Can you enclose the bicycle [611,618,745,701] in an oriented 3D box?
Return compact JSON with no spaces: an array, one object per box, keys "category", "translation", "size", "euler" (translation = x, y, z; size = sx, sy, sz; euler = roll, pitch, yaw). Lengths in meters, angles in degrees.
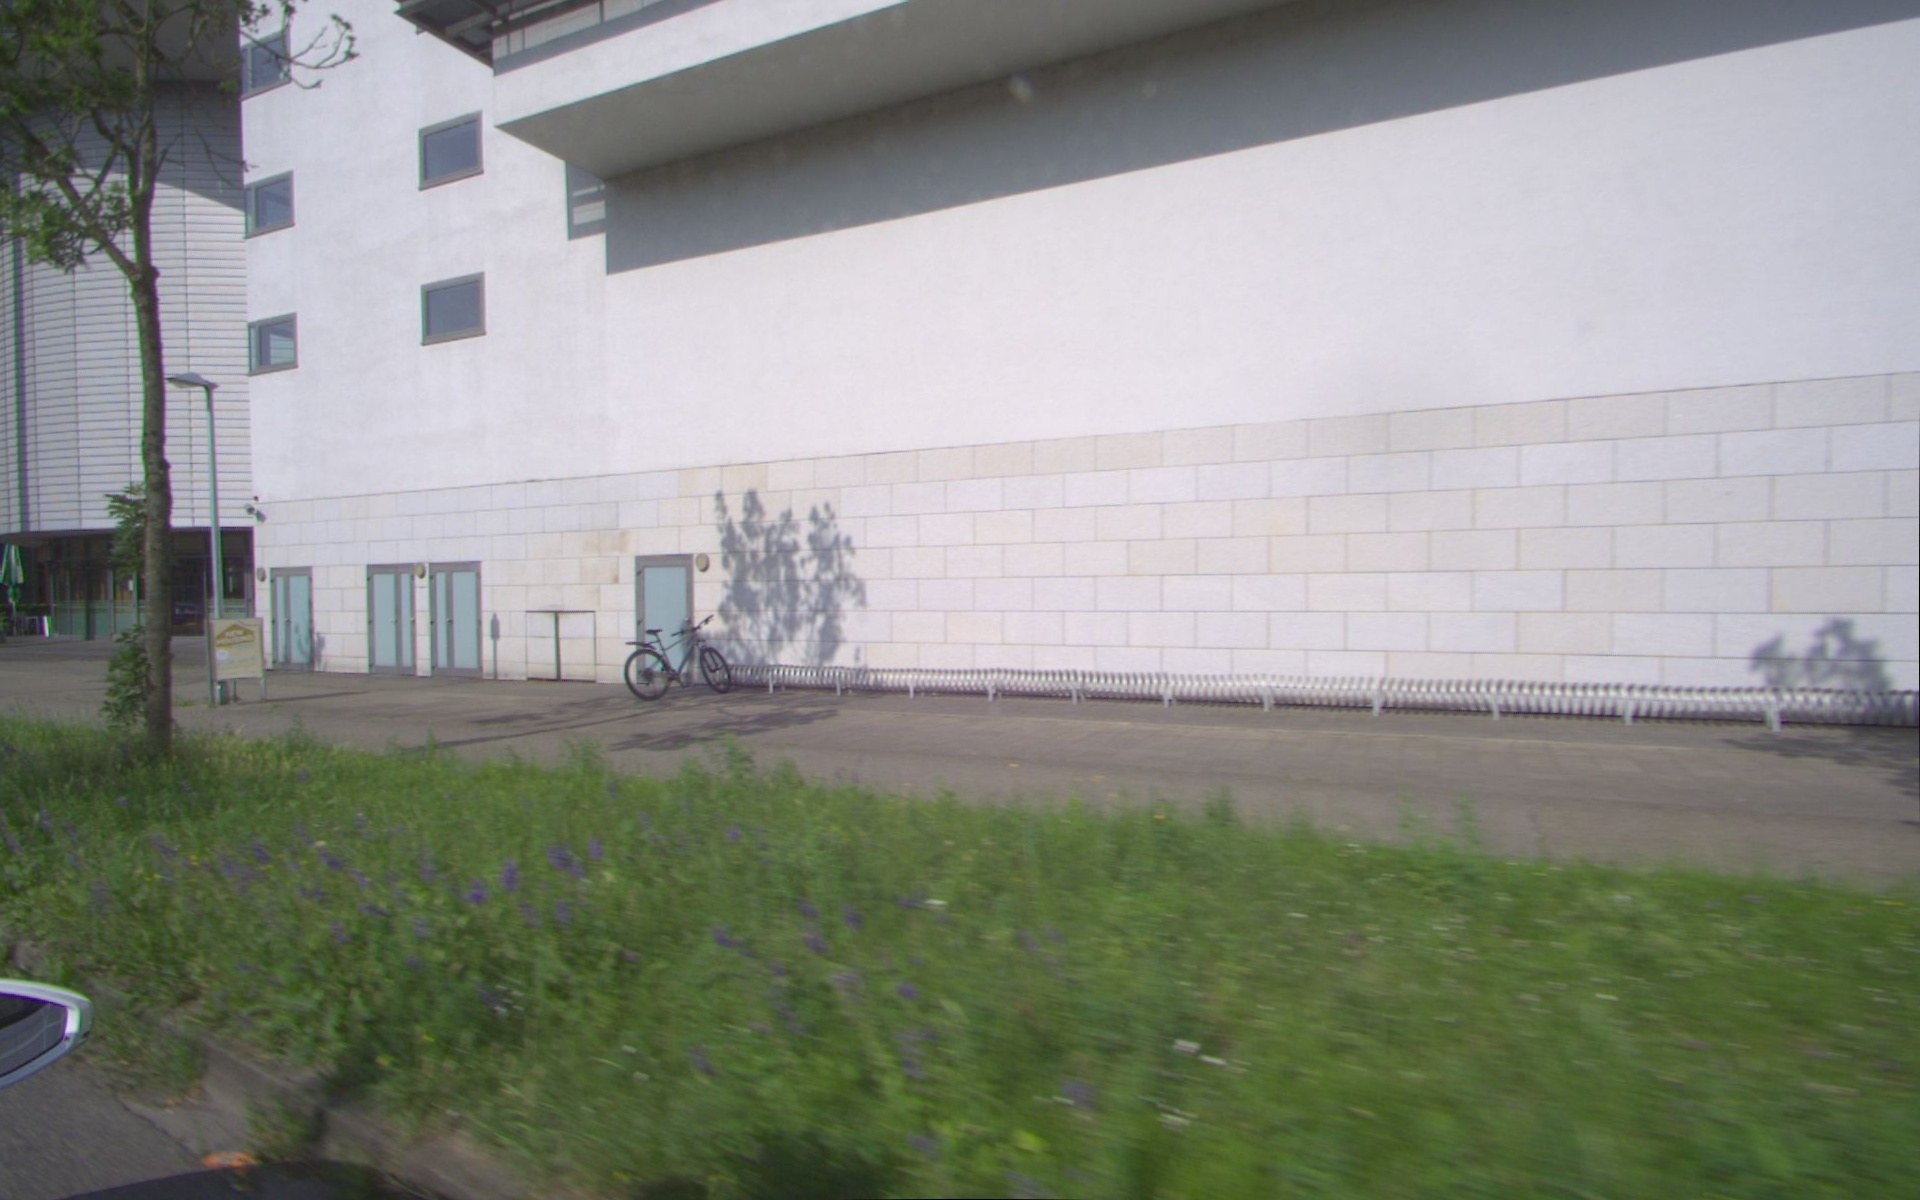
[{"category":"bicycle","translation":[-4.112,0.834,14.767],"size":[0.665,1.117,2.005],"euler":[0,0,30]}]
